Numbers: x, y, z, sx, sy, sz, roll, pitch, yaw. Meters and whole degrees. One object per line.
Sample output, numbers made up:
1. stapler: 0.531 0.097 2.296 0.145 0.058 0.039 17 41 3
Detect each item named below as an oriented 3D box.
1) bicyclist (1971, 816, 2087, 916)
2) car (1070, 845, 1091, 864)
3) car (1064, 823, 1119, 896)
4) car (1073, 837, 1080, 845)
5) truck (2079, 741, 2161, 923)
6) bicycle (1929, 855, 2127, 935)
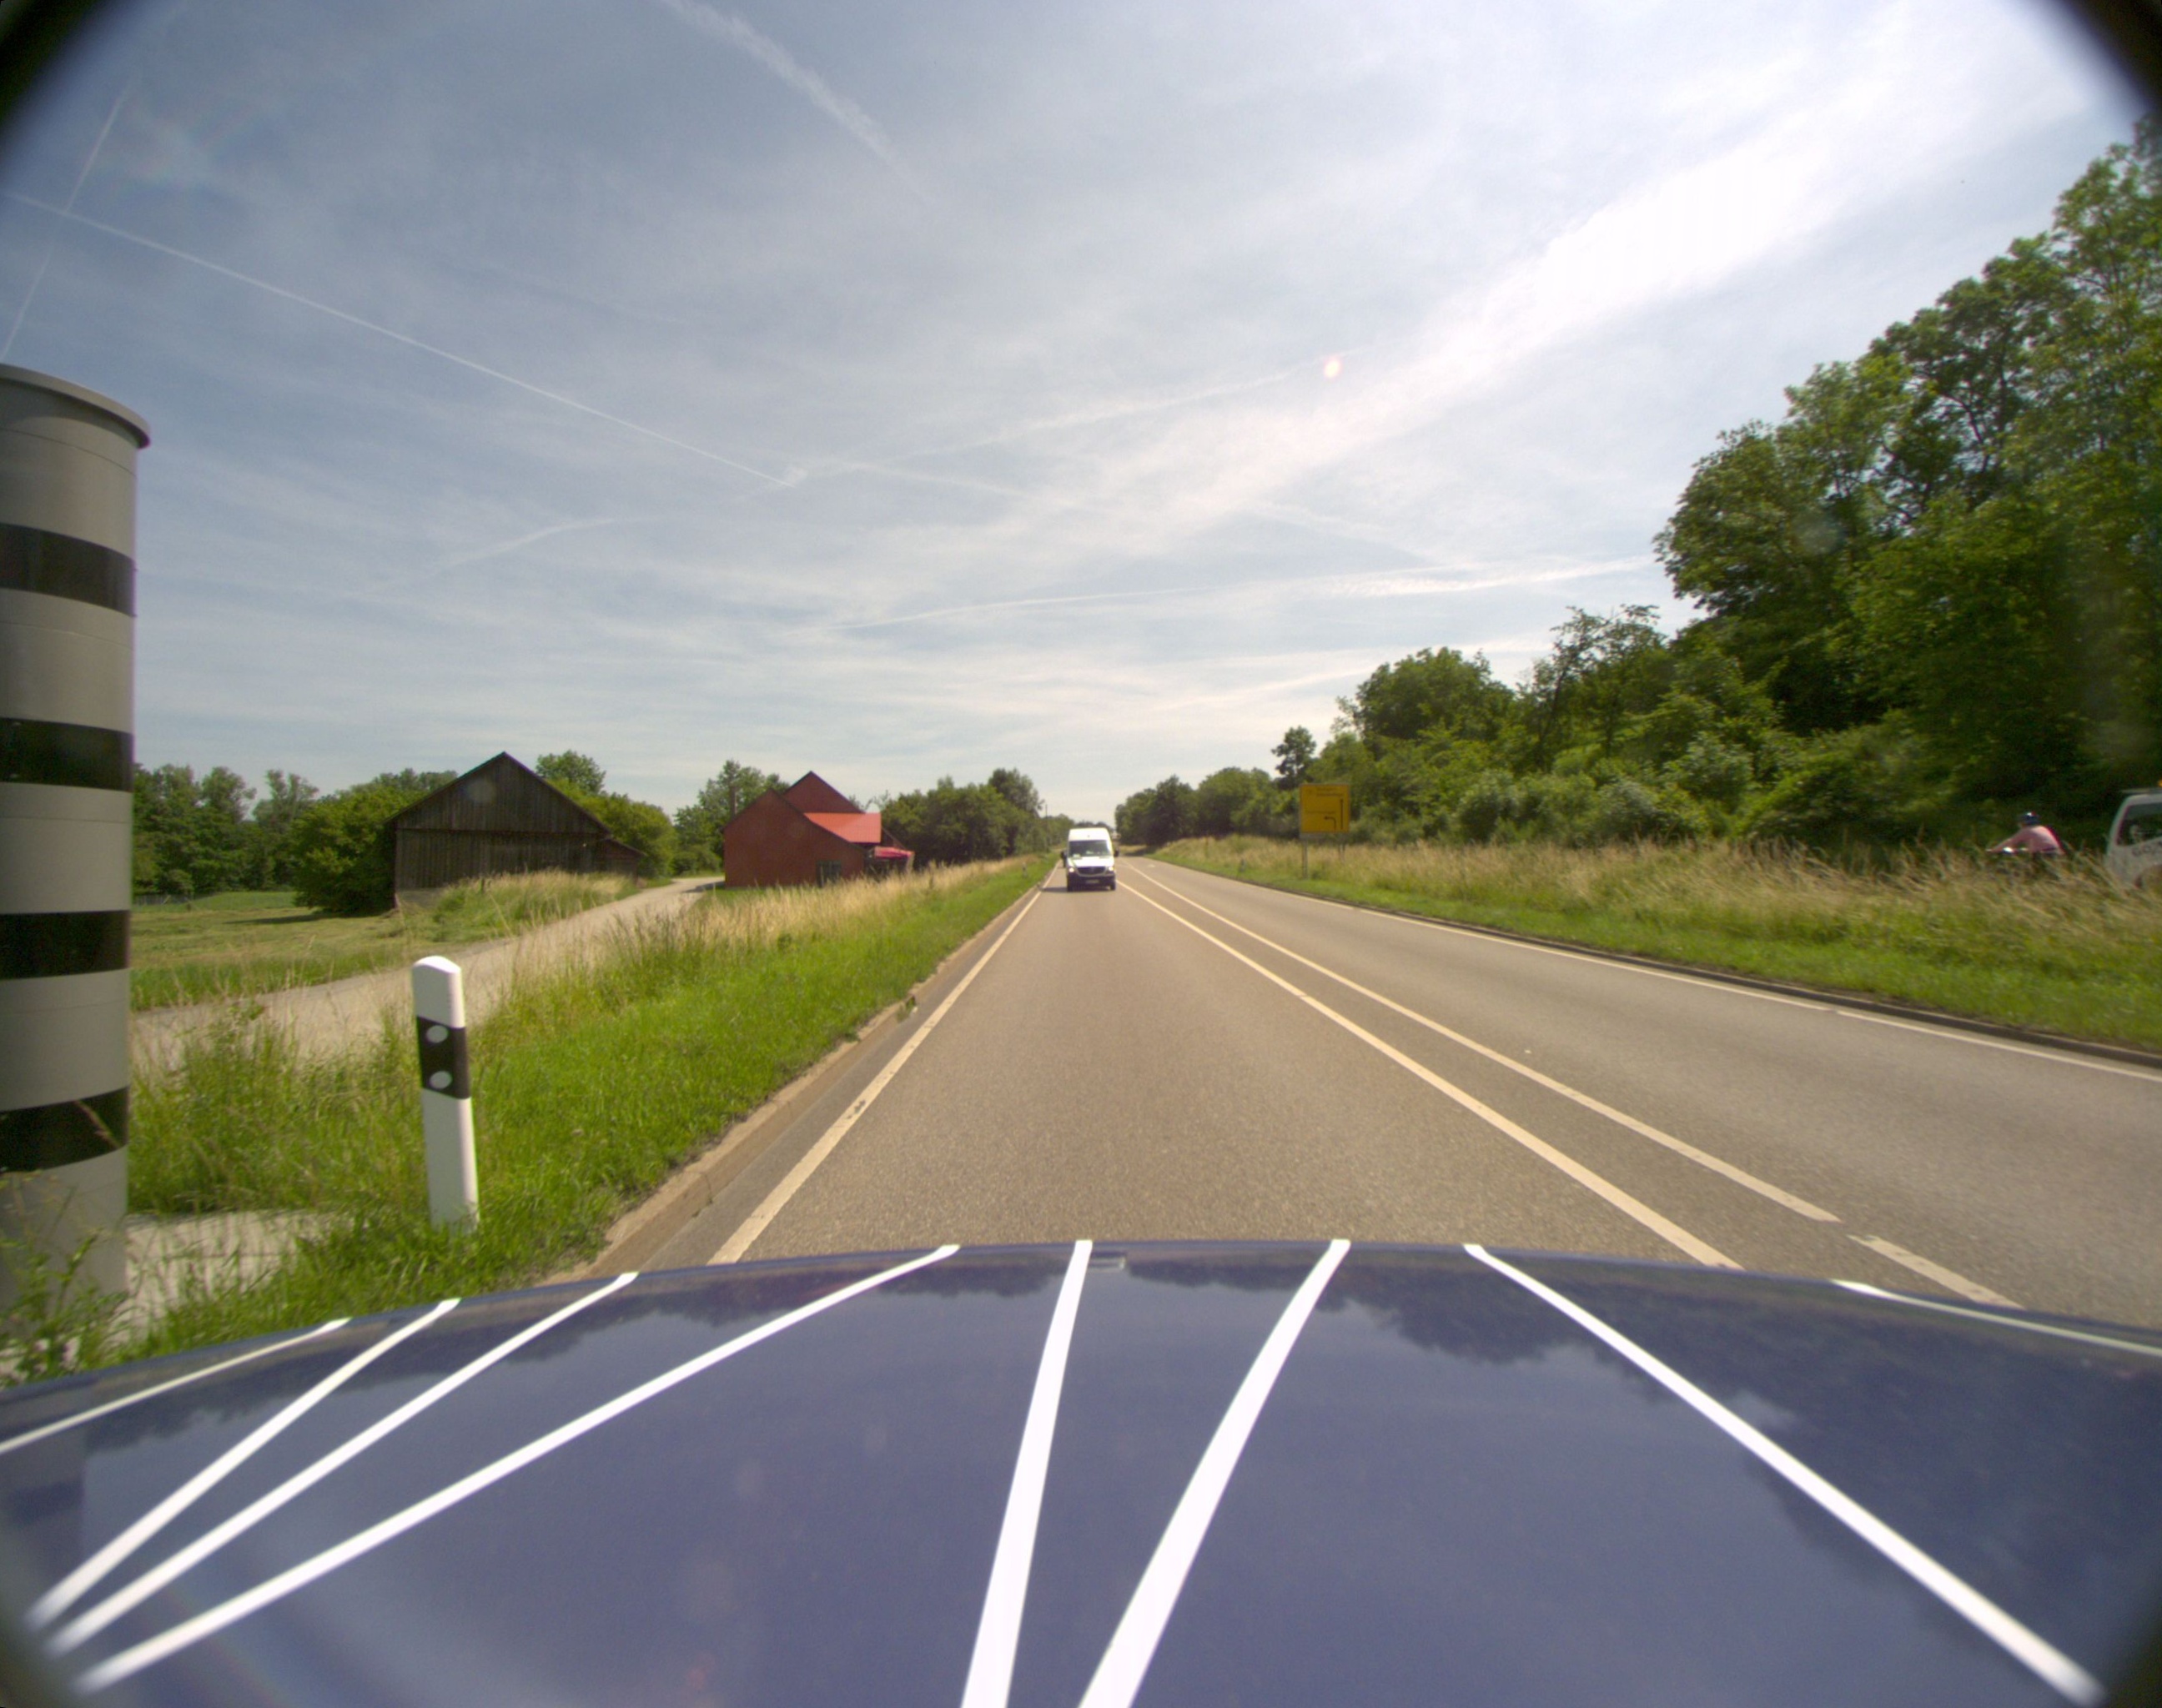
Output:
1. bicyclist: 15.824 0.196 12.714 0.750 1.586 0.936 -2 1 2
2. car: -0.060 0.098 72.709 1.848 1.691 4.244 -1 -2 2
3. car: 0.475 0.173 31.290 1.960 2.655 5.681 -2 0 2
4. car: -1.437 -4.104 237.629 1.998 2.166 4.001 -2 0 3
5. truck: 18.428 -0.375 9.939 2.031 2.946 6.774 -2 0 3
6. bicycle: 15.850 0.640 12.833 0.750 1.205 2.105 -2 0 2
